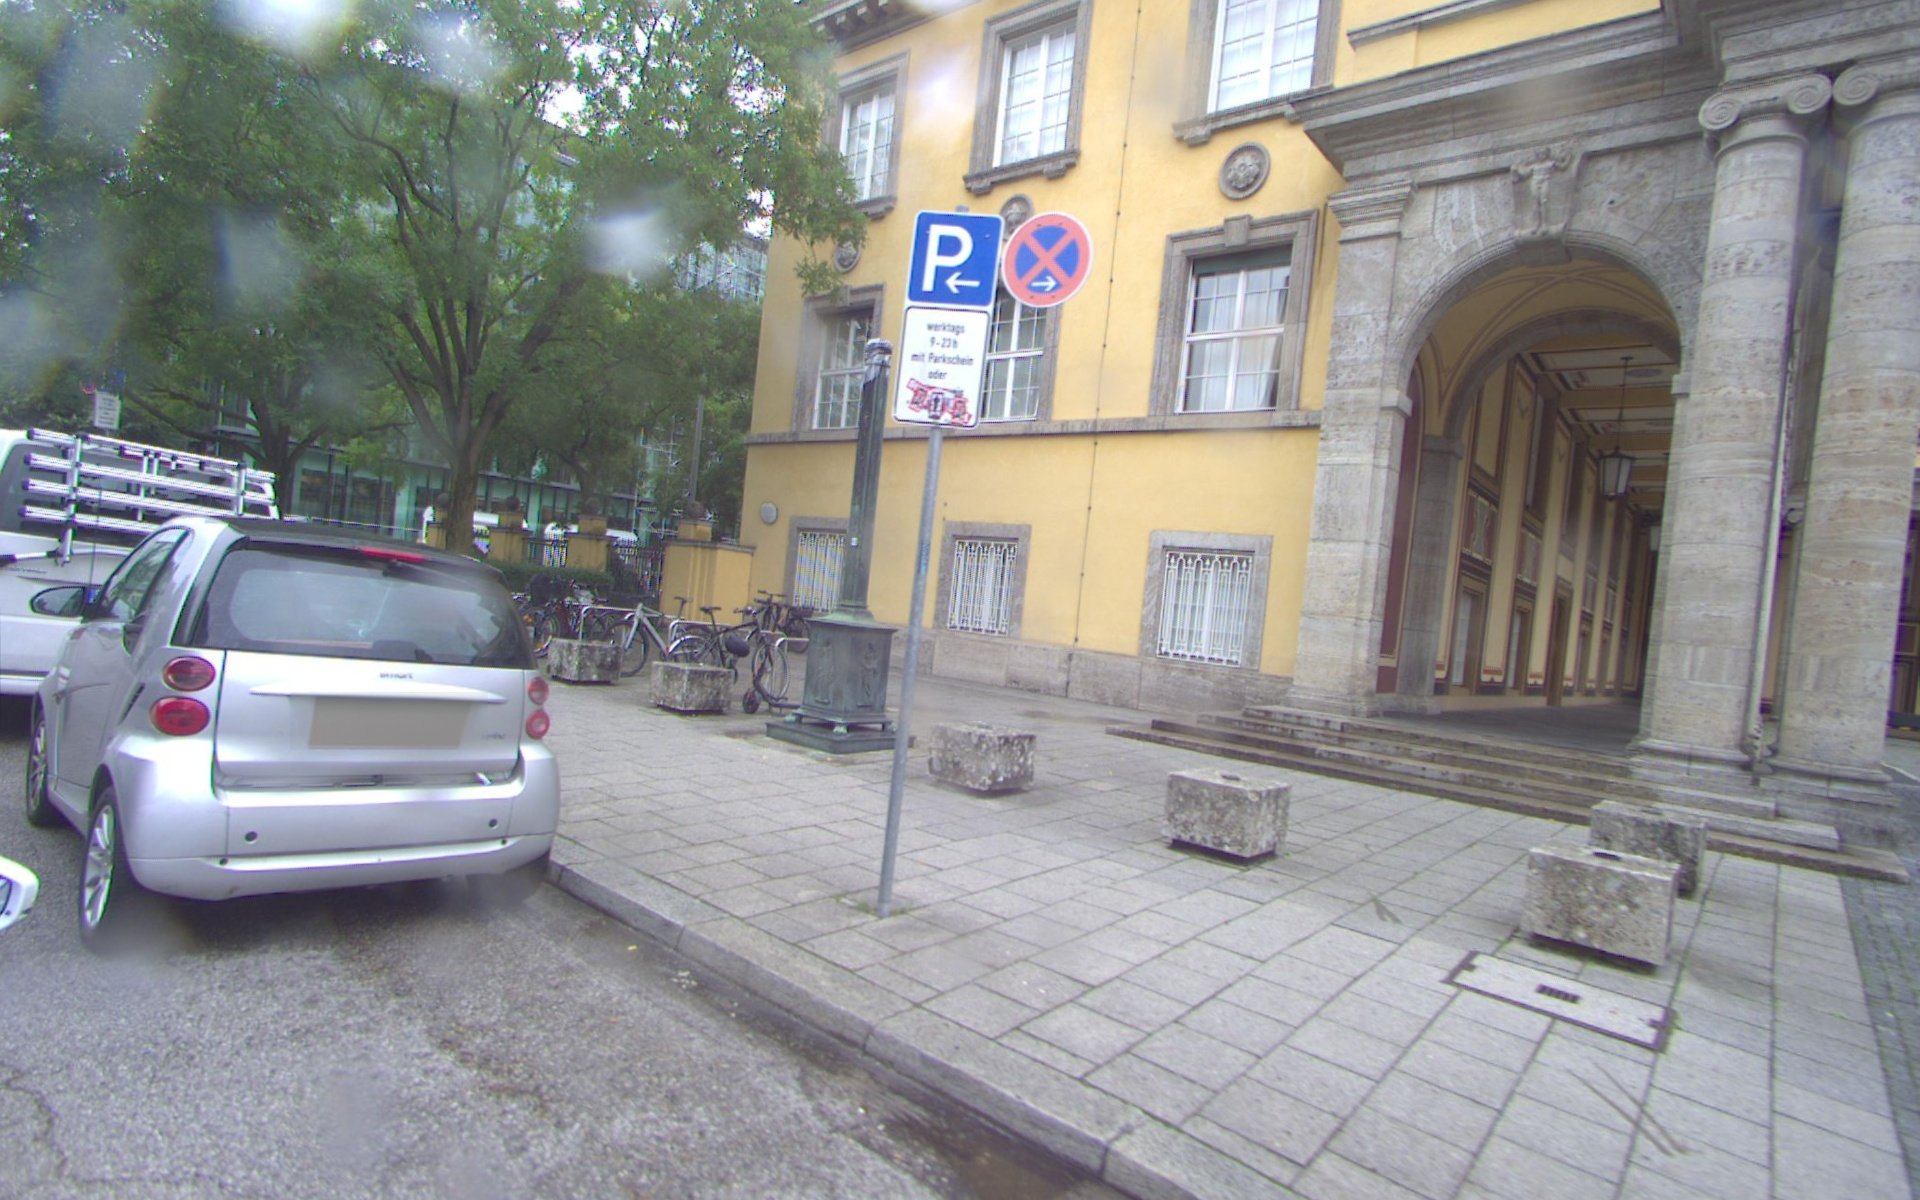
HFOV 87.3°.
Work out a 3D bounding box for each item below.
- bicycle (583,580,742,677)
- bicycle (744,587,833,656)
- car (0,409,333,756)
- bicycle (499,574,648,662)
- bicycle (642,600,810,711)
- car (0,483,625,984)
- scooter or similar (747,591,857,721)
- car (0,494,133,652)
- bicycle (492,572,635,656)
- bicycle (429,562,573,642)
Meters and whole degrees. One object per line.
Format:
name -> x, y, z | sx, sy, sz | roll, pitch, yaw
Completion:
bicycle -> -3.772, 0.392, 12.892 | 0.465, 1.128, 1.927 | 7, 2, 42
bicycle -> -3.442, 0.418, 20.100 | 1.874, 1.169, 0.541 | 7, 2, 39
car -> -7.037, -0.221, 7.859 | 5.195, 1.955, 1.845 | 6, -2, 39
bicycle -> -5.510, 0.285, 14.442 | 0.465, 1.128, 1.927 | 7, 2, 42
bicycle -> -2.600, 0.627, 11.392 | 0.464, 1.128, 1.930 | 7, 1, 37
car -> -3.162, 0.399, 4.713 | 2.892, 1.564, 1.605 | 6, -2, 40
scooter or similar -> -1.639, 0.579, 10.541 | 0.994, 1.238, 0.537 | 5, 2, -6
car -> -11.519, -0.505, 11.689 | 4.898, 1.507, 1.772 | 6, -2, 38
bicycle -> -5.932, 0.234, 15.150 | 0.465, 1.128, 1.927 | 7, 2, 41
bicycle -> -7.209, 0.059, 15.894 | 0.464, 1.128, 2.030 | 7, 1, 37
